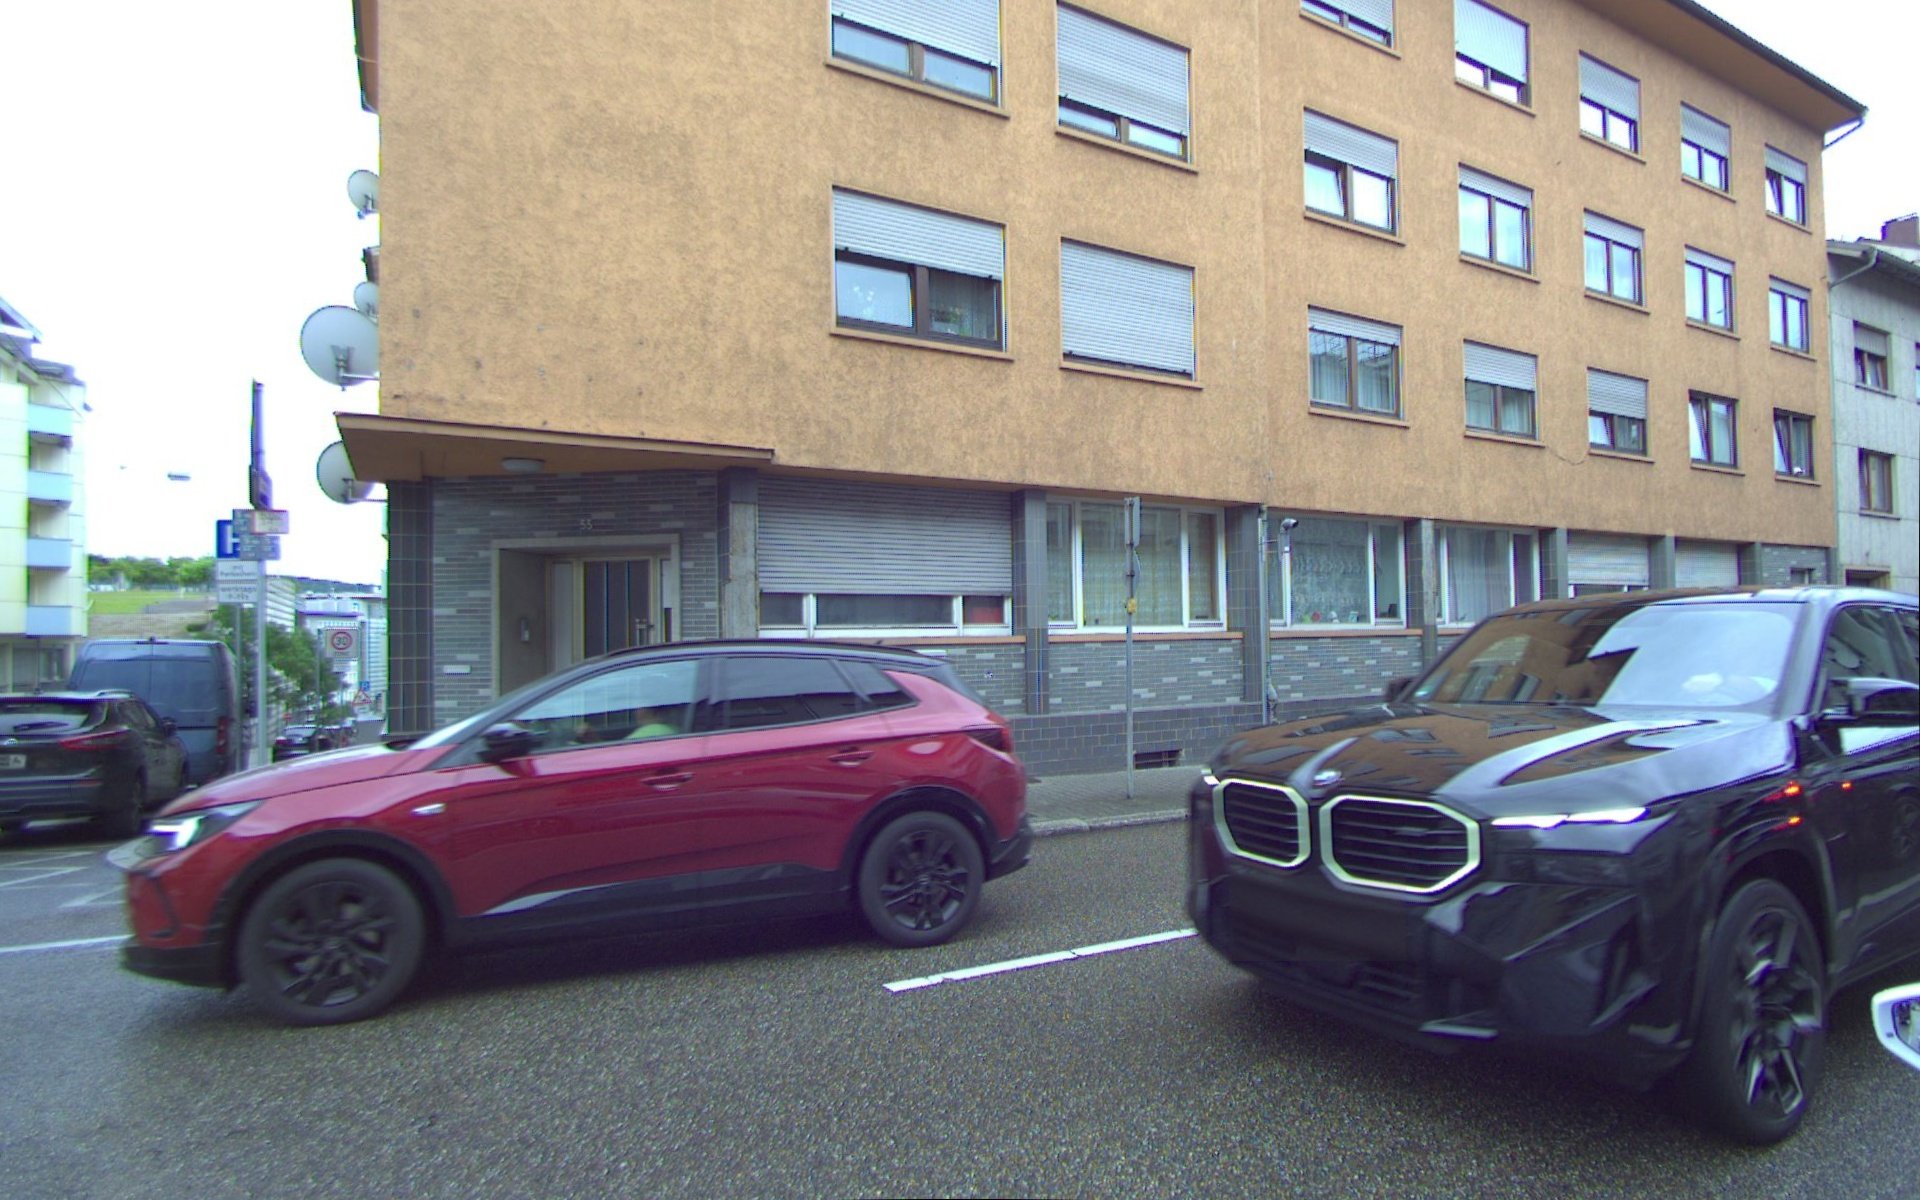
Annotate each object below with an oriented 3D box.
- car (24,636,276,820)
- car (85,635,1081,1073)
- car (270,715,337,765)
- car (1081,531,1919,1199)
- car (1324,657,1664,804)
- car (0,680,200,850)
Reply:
[{"bbox_3d":[-13.189,2.094,16.866,2.223,2.492,6.017,1,-7,-29],"label":"car"},{"bbox_3d":[-1.645,1.023,5.438,4.256,1.605,1.793,1,-4,-24],"label":"car"},{"bbox_3d":[-24.421,5.205,37.483,1.796,1.696,4.026,1,-7,-29],"label":"car"},{"bbox_3d":[3.090,0.825,4.514,4.762,1.743,2.117,1,-4,-31],"label":"car"},{"bbox_3d":[6.900,1.532,12.867,4.475,1.457,1.786,1,0,-31],"label":"car"},{"bbox_3d":[-10.157,1.836,11.413,1.820,1.596,4.127,1,-8,-29],"label":"car"}]
